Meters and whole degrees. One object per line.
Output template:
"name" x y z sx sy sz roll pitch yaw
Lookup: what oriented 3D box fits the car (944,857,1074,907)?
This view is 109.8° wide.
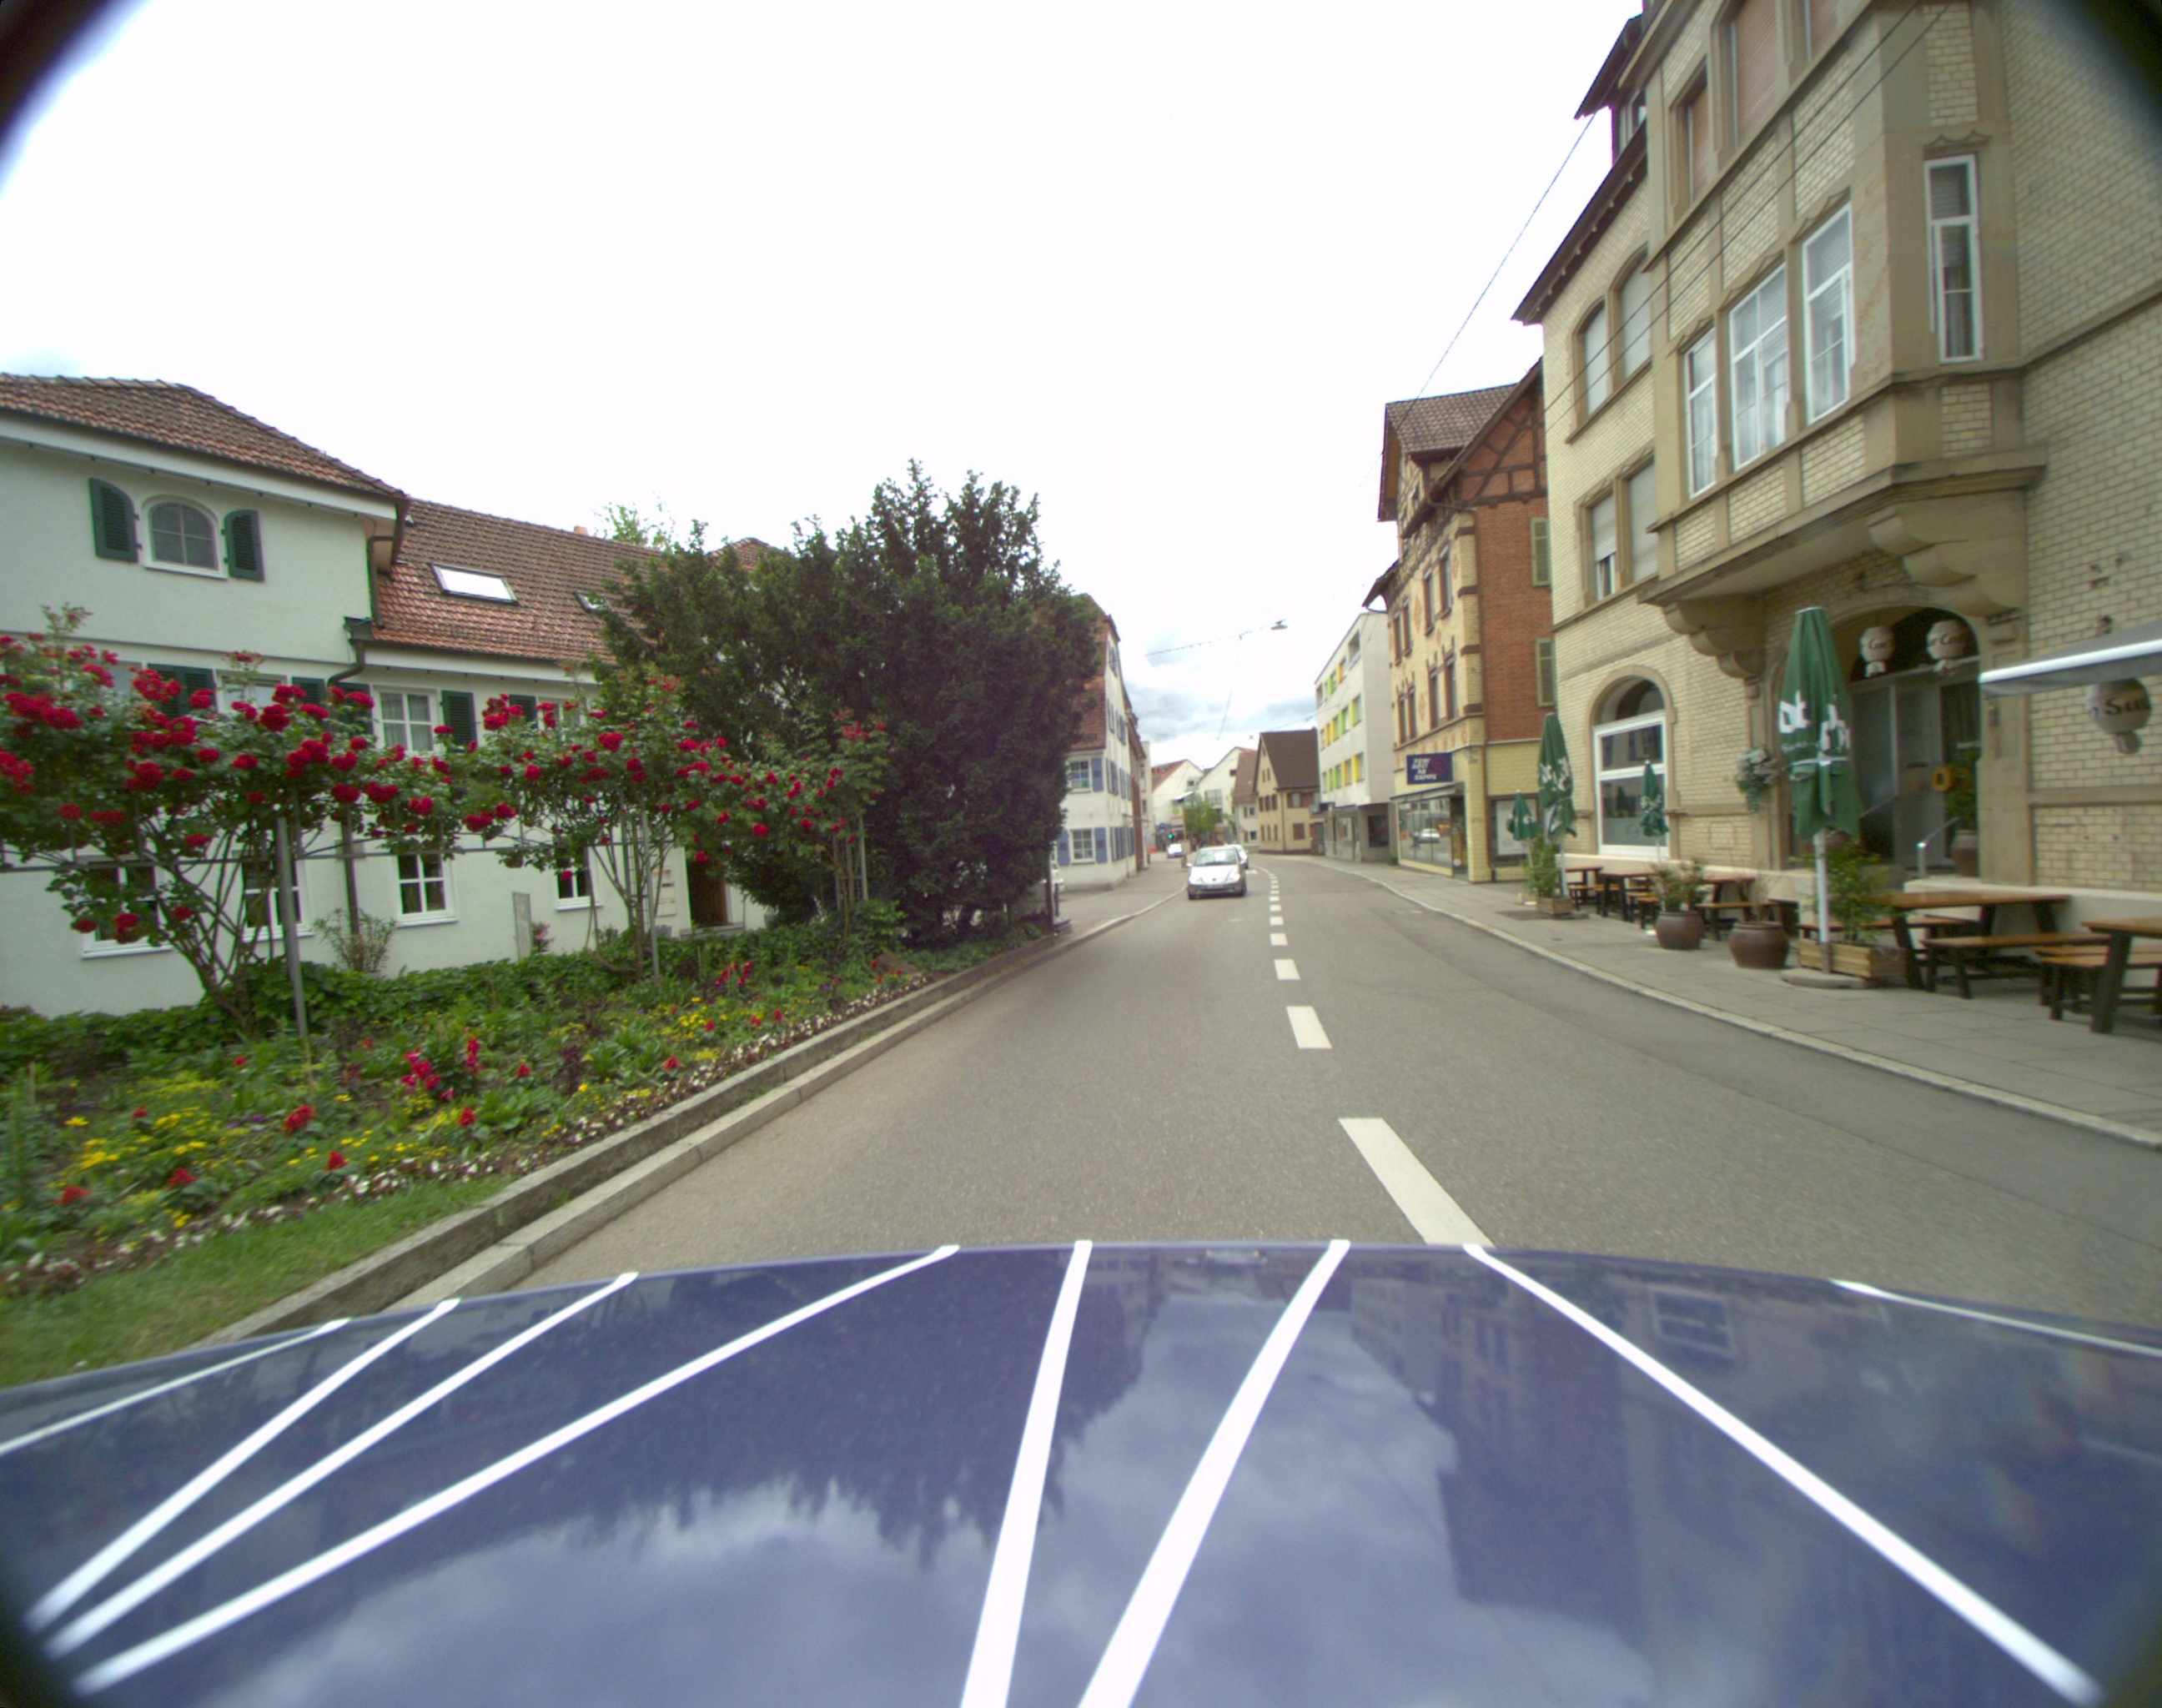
"car" -2.395 0.939 25.461 3.796 1.410 1.900 -3 1 19

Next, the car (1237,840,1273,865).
"car" 10.284 -0.103 45.156 1.754 1.347 4.003 -3 0 9

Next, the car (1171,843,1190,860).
"car" 11.067 -0.297 84.814 1.999 1.618 4.001 -4 1 7

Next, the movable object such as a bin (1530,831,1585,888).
"movable object such as a bin" 12.769 0.135 20.386 0.943 1.371 0.823 -6 4 13

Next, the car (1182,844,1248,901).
"car" 4.415 0.544 24.711 1.893 1.618 4.003 -2 1 12
